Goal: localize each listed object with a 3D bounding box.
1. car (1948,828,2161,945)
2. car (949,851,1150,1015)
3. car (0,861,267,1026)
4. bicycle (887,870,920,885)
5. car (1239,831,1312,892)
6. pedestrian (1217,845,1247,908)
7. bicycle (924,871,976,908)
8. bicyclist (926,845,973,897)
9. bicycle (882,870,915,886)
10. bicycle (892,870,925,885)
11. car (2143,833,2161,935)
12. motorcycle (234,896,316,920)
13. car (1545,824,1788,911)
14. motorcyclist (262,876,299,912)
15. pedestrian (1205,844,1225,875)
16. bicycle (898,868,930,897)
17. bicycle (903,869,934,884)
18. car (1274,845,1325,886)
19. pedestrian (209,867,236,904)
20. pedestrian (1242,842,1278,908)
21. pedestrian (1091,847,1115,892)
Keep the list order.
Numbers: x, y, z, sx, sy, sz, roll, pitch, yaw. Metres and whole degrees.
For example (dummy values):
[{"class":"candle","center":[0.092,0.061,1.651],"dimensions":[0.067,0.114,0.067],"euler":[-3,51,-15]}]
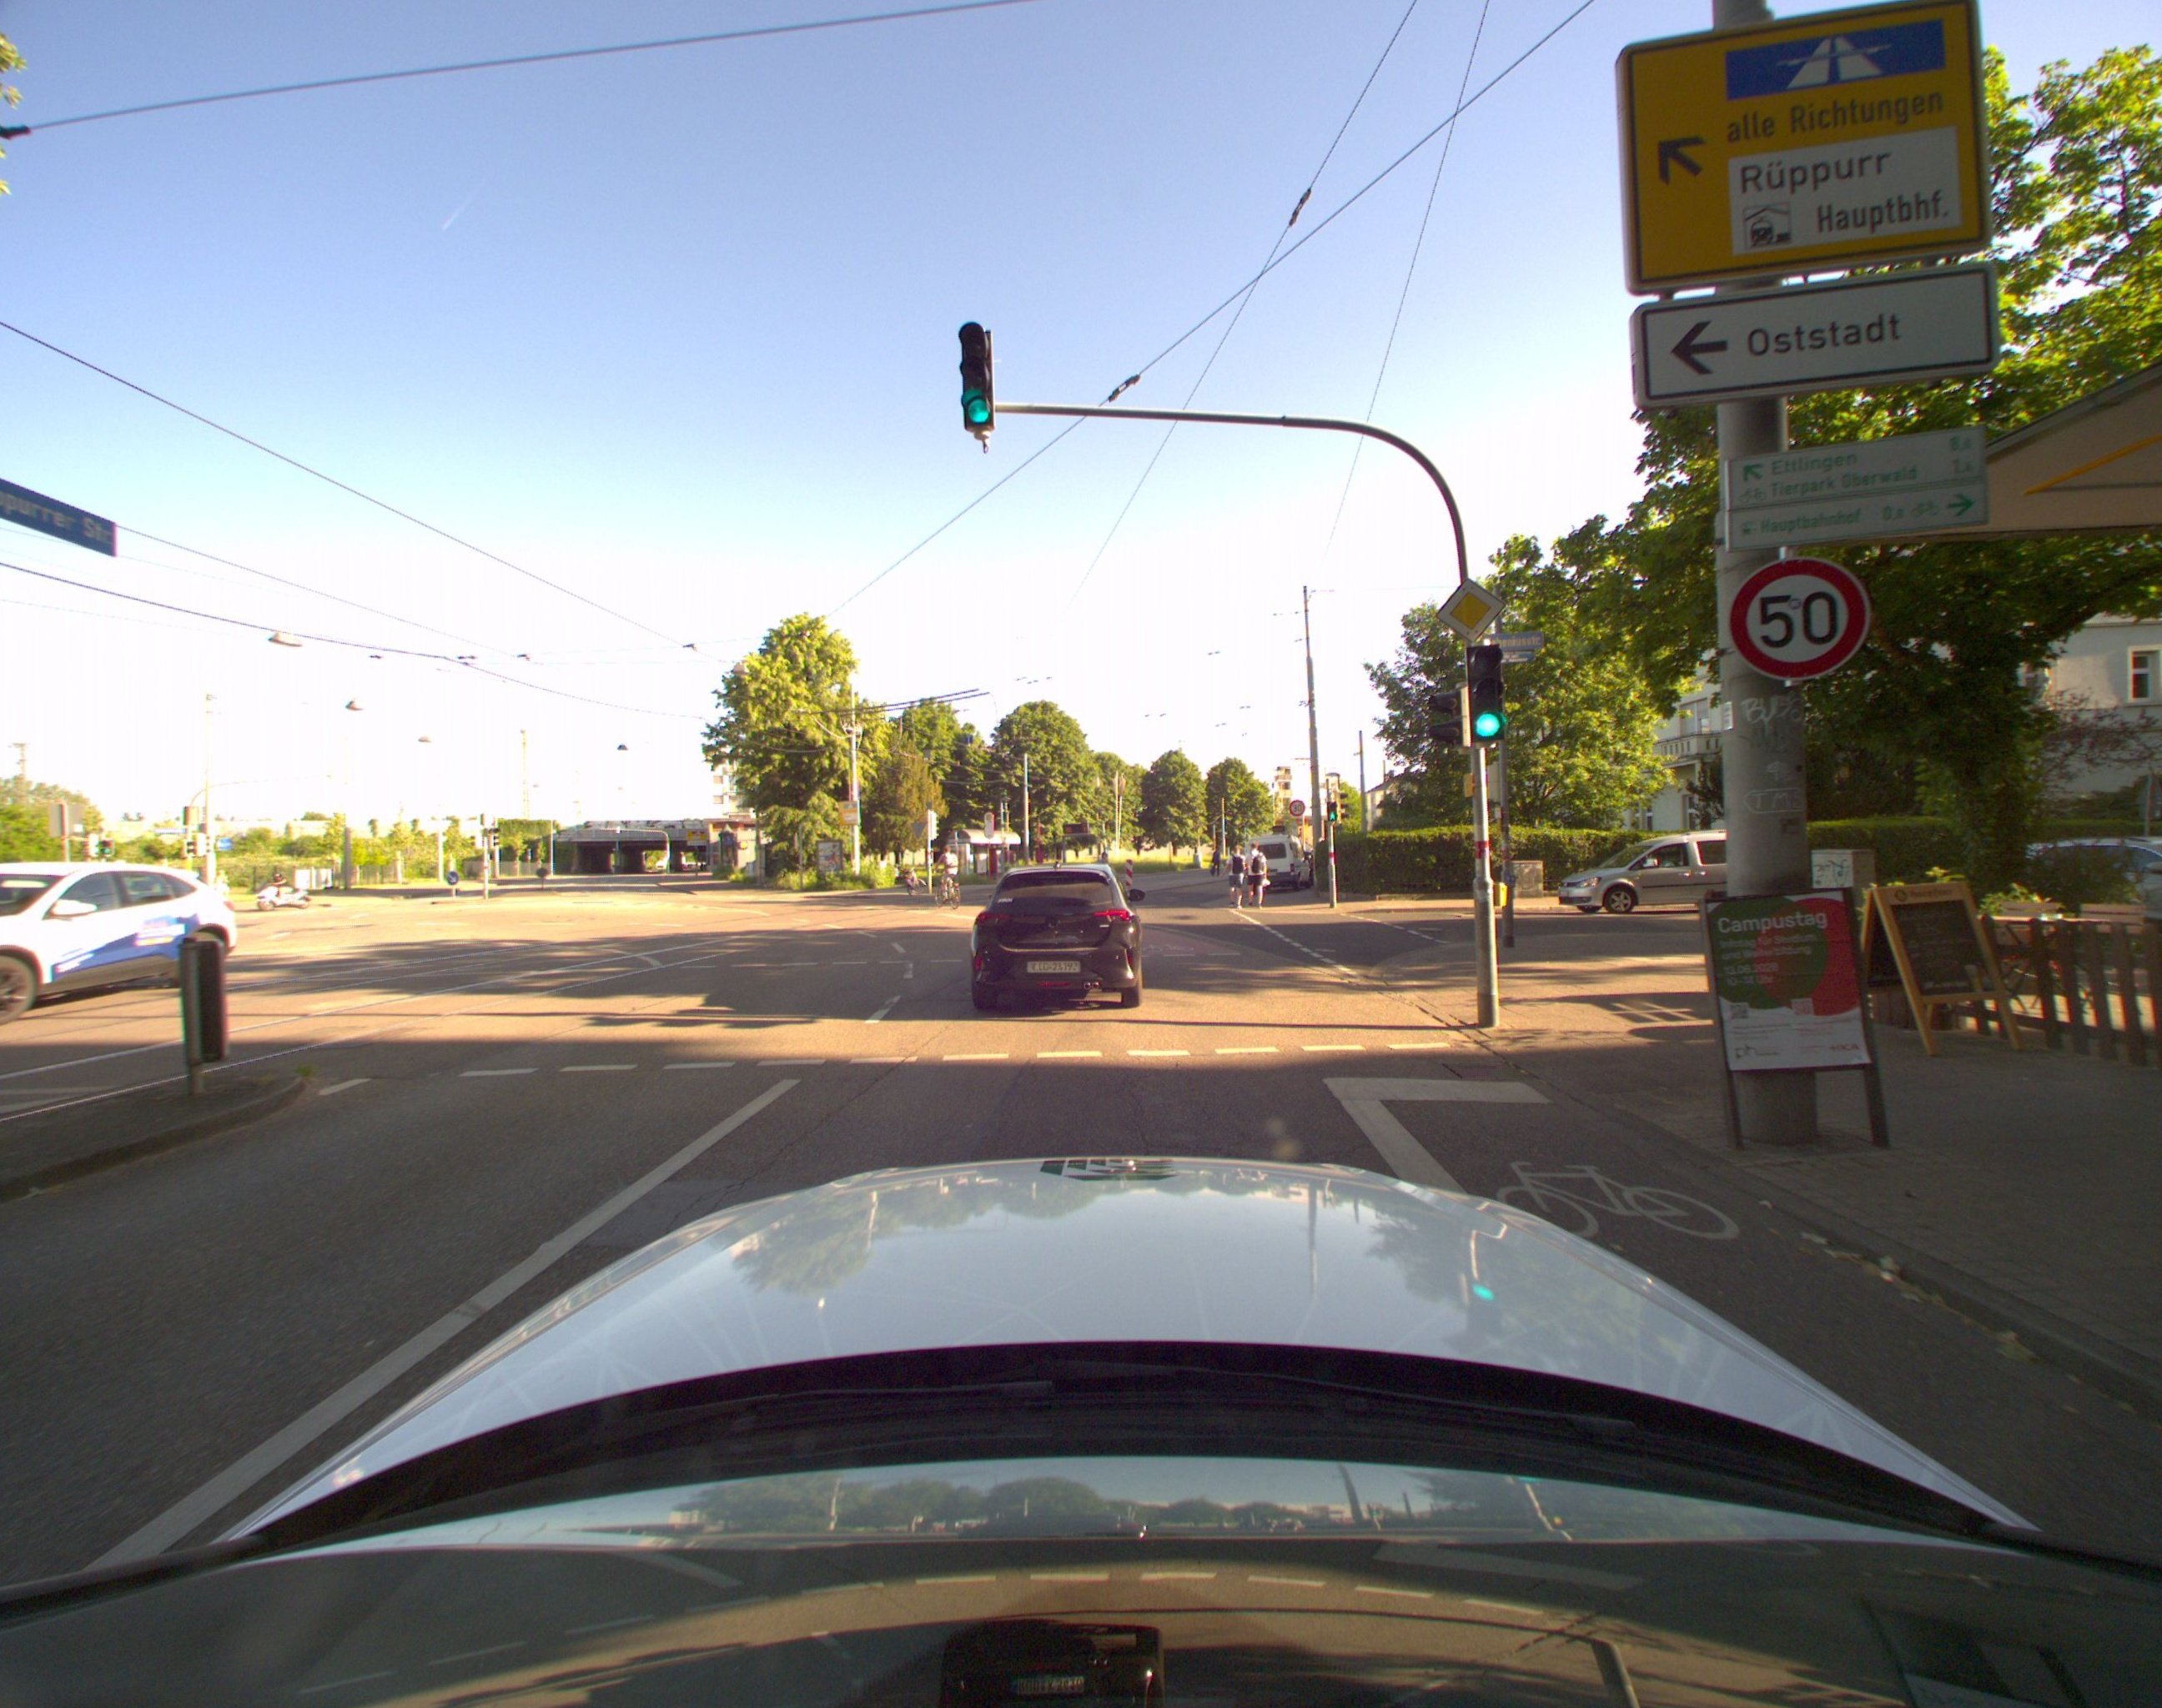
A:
[{"class":"car","center":[15.514,0.425,11.776],"dimensions":[1.698,1.581,4.037],"euler":[-1,0,1]},{"class":"car","center":[-0.262,0.726,9.386],"dimensions":[1.794,1.441,3.940],"euler":[-2,0,1]},{"class":"car","center":[-12.081,0.926,9.218],"dimensions":[1.997,1.631,4.606],"euler":[-1,0,-15]},{"class":"bicycle","center":[-11.100,1.477,50.890],"dimensions":[1.867,0.906,0.661],"euler":[-1,0,6]},{"class":"car","center":[7.835,0.322,32.494],"dimensions":[2.071,2.278,4.329],"euler":[-1,-1,23]},{"class":"pedestrian","center":[4.380,0.650,23.616],"dimensions":[0.696,1.792,0.617],"euler":[-1,0,-1]},{"class":"bicycle","center":[-3.985,1.062,24.677],"dimensions":[0.672,1.059,2.058],"euler":[-1,0,-37]},{"class":"bicyclist","center":[-3.992,0.497,24.644],"dimensions":[0.847,1.510,1.353],"euler":[-1,0,-37]},{"class":"bicycle","center":[-11.182,1.478,49.904],"dimensions":[1.867,0.906,0.661],"euler":[-1,0,6]},{"class":"bicycle","center":[-10.963,1.472,51.764],"dimensions":[1.867,0.906,0.661],"euler":[-1,0,6]},{"class":"car","center":[17.858,0.453,11.105],"dimensions":[1.704,1.618,3.906],"euler":[-1,0,2]},{"class":"motorcycle","center":[-33.059,2.180,33.454],"dimensions":[0.725,0.870,2.352],"euler":[0,-1,12]},{"class":"car","center":[13.420,0.347,18.902],"dimensions":[4.153,1.814,1.810],"euler":[-2,-3,7]},{"class":"motorcyclist","center":[-33.043,1.636,33.608],"dimensions":[0.707,1.434,0.798],"euler":[0,-1,12]},{"class":"pedestrian","center":[8.006,0.333,48.624],"dimensions":[0.949,1.793,1.001],"euler":[-2,-1,25]},{"class":"bicycle","center":[-6.704,1.132,32.804],"dimensions":[0.822,1.059,1.883],"euler":[-1,0,2]},{"class":"bicycle","center":[-10.700,1.469,53.626],"dimensions":[1.867,0.906,0.661],"euler":[-1,0,6]},{"class":"car","center":[10.186,0.507,37.752],"dimensions":[1.785,1.763,3.912],"euler":[-2,0,22]},{"class":"pedestrian","center":[-37.889,1.368,35.961],"dimensions":[0.602,1.596,0.679],"euler":[0,-2,-26]},{"class":"pedestrian","center":[5.118,0.584,23.274],"dimensions":[0.696,1.846,0.705],"euler":[-2,-1,39]},{"class":"pedestrian","center":[0.834,0.589,31.223],"dimensions":[0.700,1.693,0.724],"euler":[-1,0,-16]}]
